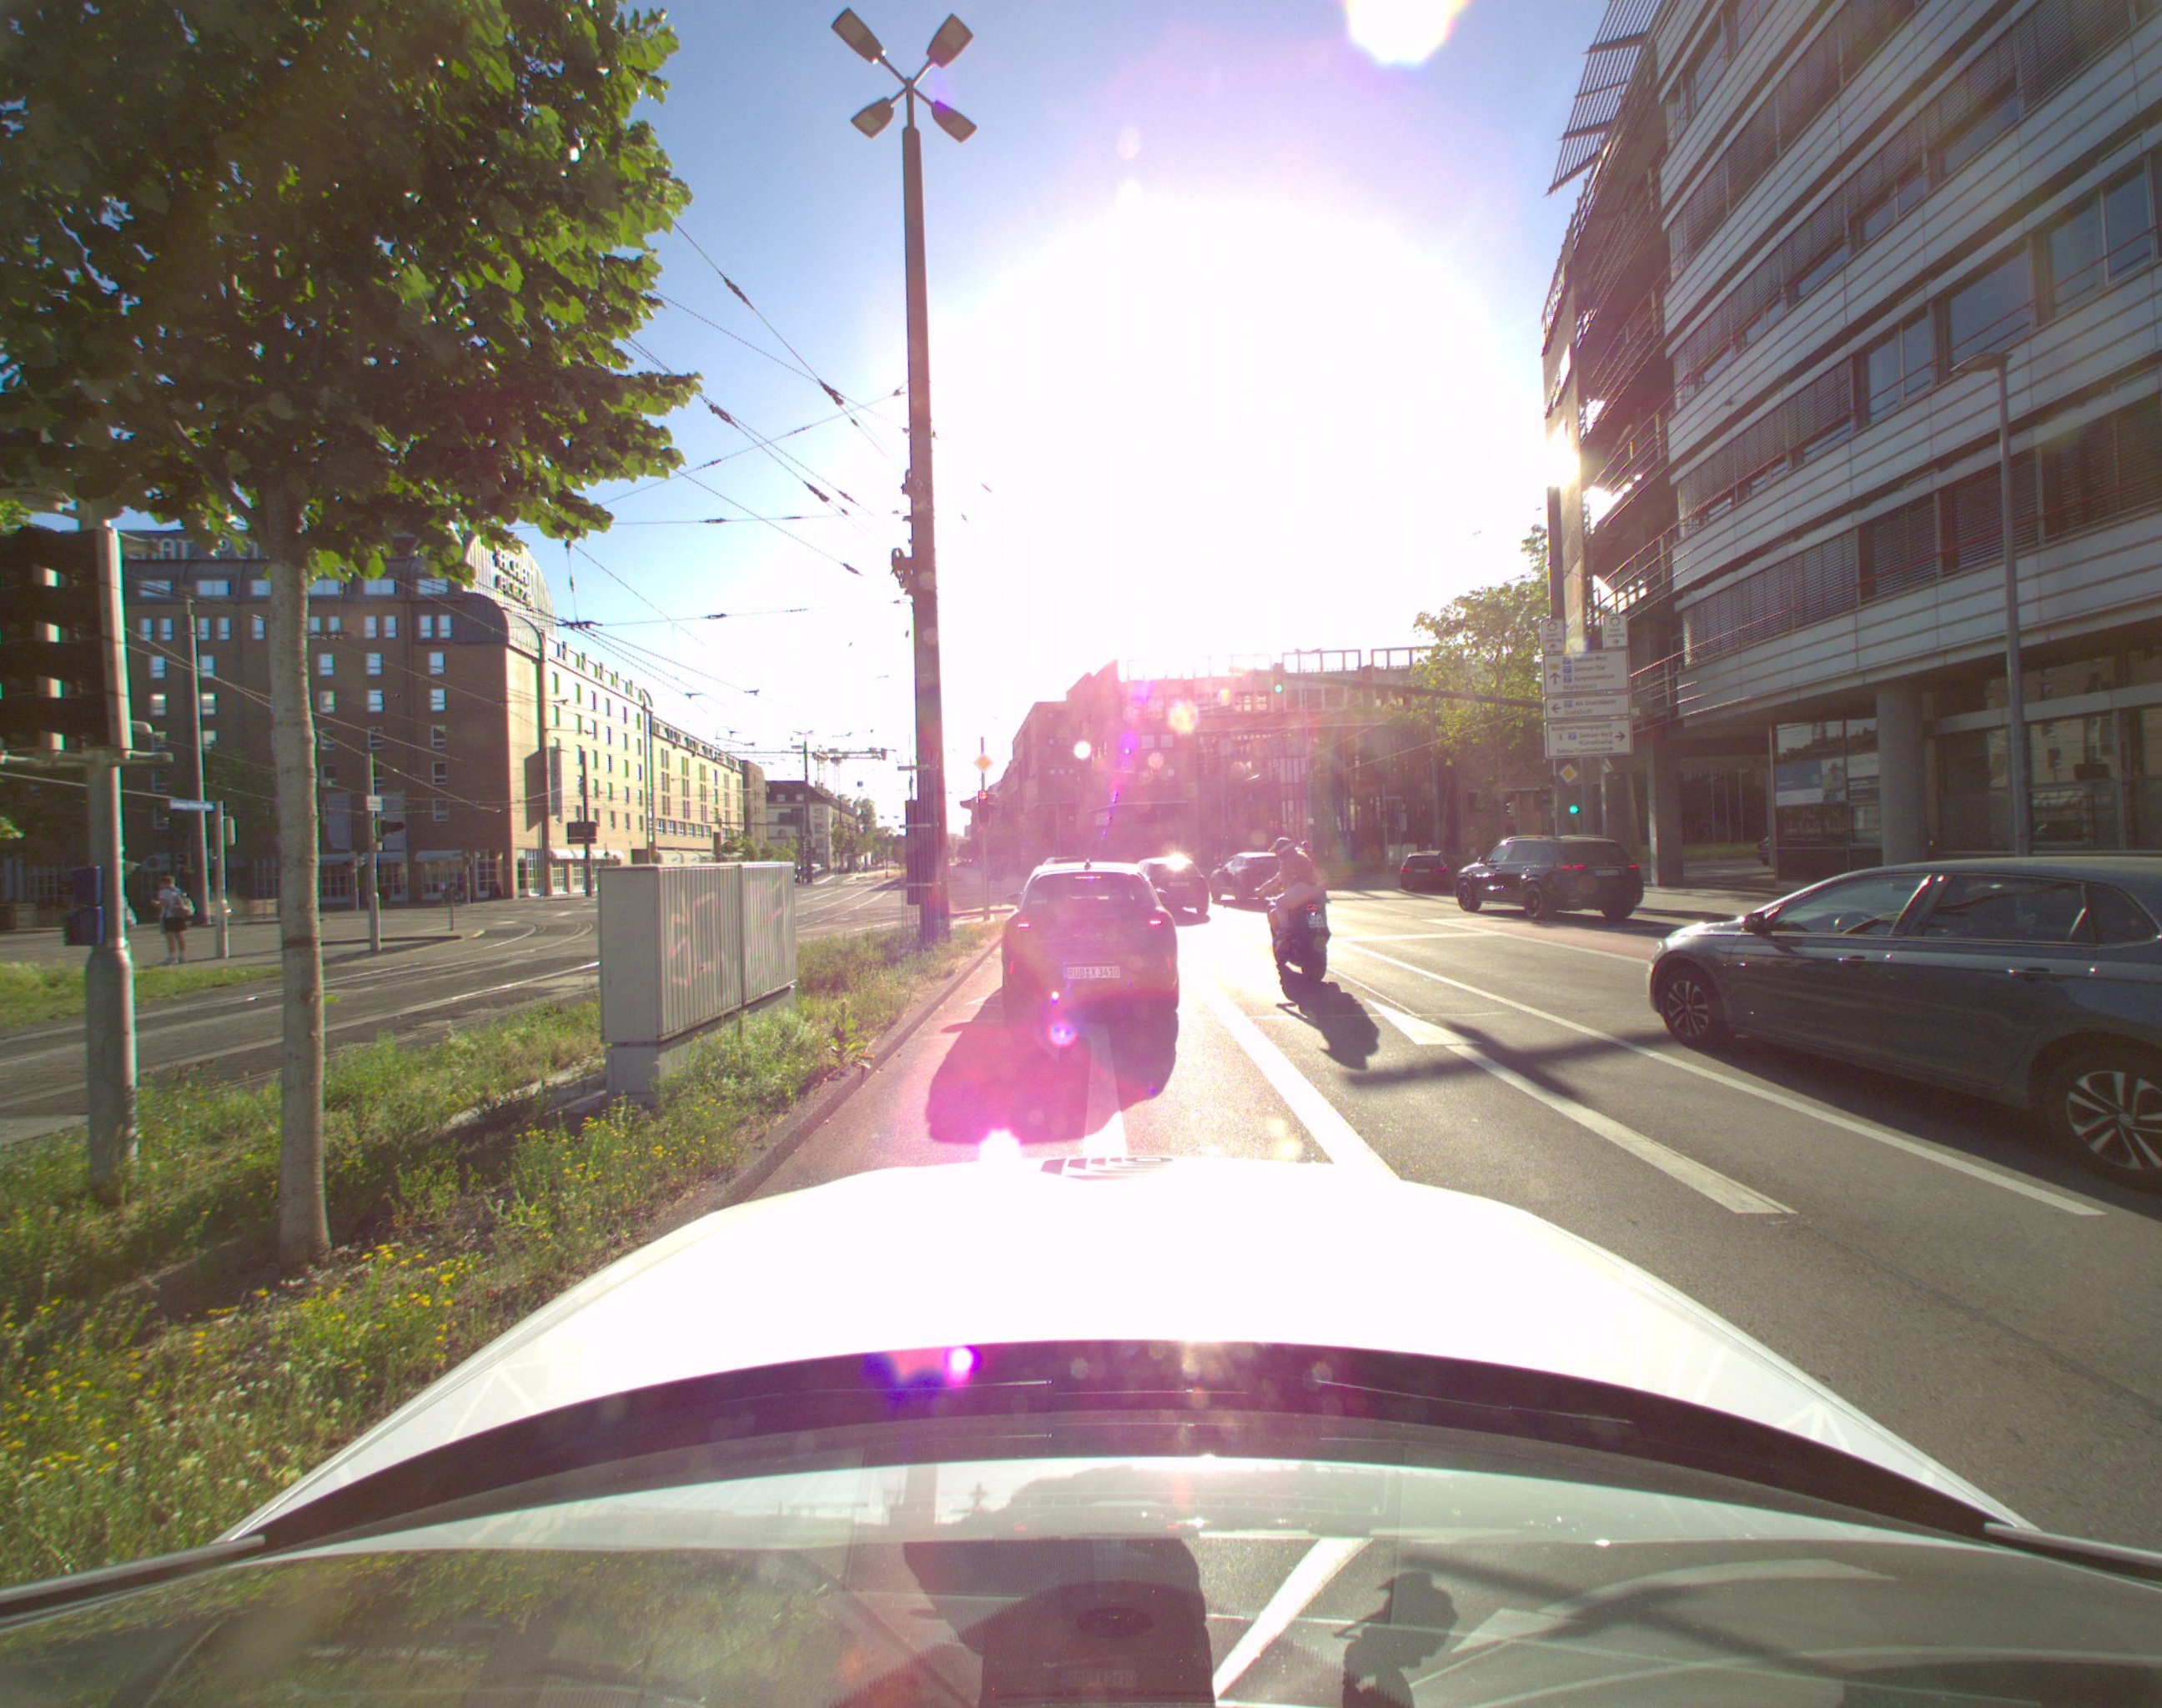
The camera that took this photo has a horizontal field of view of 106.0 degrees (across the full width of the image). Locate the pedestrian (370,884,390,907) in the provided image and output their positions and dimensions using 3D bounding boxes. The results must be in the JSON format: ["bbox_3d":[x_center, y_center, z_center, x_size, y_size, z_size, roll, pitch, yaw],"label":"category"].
[{"bbox_3d":[-46.097,2.729,53.561,0.674,1.503,0.658,-2,0,-2],"label":"pedestrian"}]

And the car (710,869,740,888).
[{"bbox_3d":[-29.809,2.016,68.208,1.748,1.505,3.859,-2,0,-16],"label":"car"}]

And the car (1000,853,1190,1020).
[{"bbox_3d":[0.125,0.737,9.253,1.644,1.433,3.999,-2,0,0],"label":"car"}]

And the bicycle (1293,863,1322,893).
[{"bbox_3d":[8.063,0.840,29.075,0.489,0.997,2.330,-2,0,3],"label":"bicycle"}]

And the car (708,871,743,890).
[{"bbox_3d":[-33.066,2.443,75.798,1.995,1.596,4.719,-2,0,-12],"label":"car"}]

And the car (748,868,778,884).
[{"bbox_3d":[-32.088,2.186,82.175,1.569,1.449,3.995,-2,0,-3],"label":"car"}]

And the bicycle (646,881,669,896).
[{"bbox_3d":[-34.481,2.786,66.311,0.649,1.085,2.920,-2,0,-6],"label":"bicycle"}]

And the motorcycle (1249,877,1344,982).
[{"bbox_3d":[2.654,0.890,10.241,0.772,1.115,1.971,-2,0,4],"label":"motorcycle"}]

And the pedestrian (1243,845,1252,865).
[{"bbox_3d":[12.679,0.075,61.900,0.528,1.430,0.598,-2,0,1],"label":"pedestrian"}]

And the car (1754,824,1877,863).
[{"bbox_3d":[32.371,-0.446,35.940,3.982,1.651,1.861,-1,0,-7],"label":"car"}]

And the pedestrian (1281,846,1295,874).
[{"bbox_3d":[13.081,0.370,51.516,0.700,1.759,0.564,-2,0,26],"label":"pedestrian"}]

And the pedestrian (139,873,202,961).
[{"bbox_3d":[-19.503,1.336,17.454,0.562,1.817,0.662,-2,0,-5],"label":"pedestrian"}]

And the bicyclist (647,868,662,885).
[{"bbox_3d":[-34.403,1.813,65.737,0.756,1.375,0.949,-2,0,-6],"label":"bicyclist"}]

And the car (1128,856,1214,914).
[{"bbox_3d":[2.293,0.746,21.612,1.732,1.349,3.998,-2,0,-1],"label":"car"}]

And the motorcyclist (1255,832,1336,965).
[{"bbox_3d":[2.615,0.524,10.026,0.741,1.530,1.022,-2,0,4],"label":"motorcyclist"}]

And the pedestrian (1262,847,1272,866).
[{"bbox_3d":[16.315,0.226,71.378,0.733,1.617,0.562,-2,0,9],"label":"pedestrian"}]

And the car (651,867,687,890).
[{"bbox_3d":[-39.254,2.280,77.682,1.995,2.013,3.984,-2,0,-12],"label":"car"}]

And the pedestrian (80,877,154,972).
[{"bbox_3d":[-19.330,1.393,16.343,0.630,1.830,0.662,-2,0,-5],"label":"pedestrian"}]

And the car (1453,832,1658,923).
[{"bbox_3d":[10.430,0.469,18.356,1.988,1.750,4.326,-2,0,-1],"label":"car"}]

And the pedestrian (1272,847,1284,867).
[{"bbox_3d":[16.831,0.244,69.489,0.894,1.617,0.562,-2,0,9],"label":"pedestrian"}]

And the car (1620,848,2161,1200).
[{"bbox_3d":[5.452,0.703,4.935,1.800,1.457,4.001,-1,0,2],"label":"car"}]

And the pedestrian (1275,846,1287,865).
[{"bbox_3d":[17.269,0.128,70.409,0.894,1.617,0.562,-2,0,9],"label":"pedestrian"}]

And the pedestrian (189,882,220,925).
[{"bbox_3d":[-42.255,2.387,39.262,0.663,2.013,0.678,-2,0,2],"label":"pedestrian"}]

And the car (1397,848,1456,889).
[{"bbox_3d":[13.422,0.505,31.560,1.975,1.420,4.023,0,1,24],"label":"car"}]

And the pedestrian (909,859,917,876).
[{"bbox_3d":[-16.602,1.312,80.393,0.766,1.640,0.741,-2,0,-12],"label":"pedestrian"}]

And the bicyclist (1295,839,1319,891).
[{"bbox_3d":[8.054,0.392,29.071,0.575,1.791,0.864,-2,0,3],"label":"bicyclist"}]

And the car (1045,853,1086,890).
[{"bbox_3d":[-0.815,0.830,39.878,1.734,1.651,3.993,-2,0,-5],"label":"car"}]

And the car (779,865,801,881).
[{"bbox_3d":[-28.957,1.850,81.066,1.748,1.505,3.859,-2,0,-16],"label":"car"}]

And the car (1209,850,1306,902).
[{"bbox_3d":[5.415,0.630,25.489,1.805,1.457,3.991,-1,0,-6],"label":"car"}]

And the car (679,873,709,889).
[{"bbox_3d":[-40.413,2.828,85.116,1.886,1.510,3.984,-2,0,-12],"label":"car"}]
